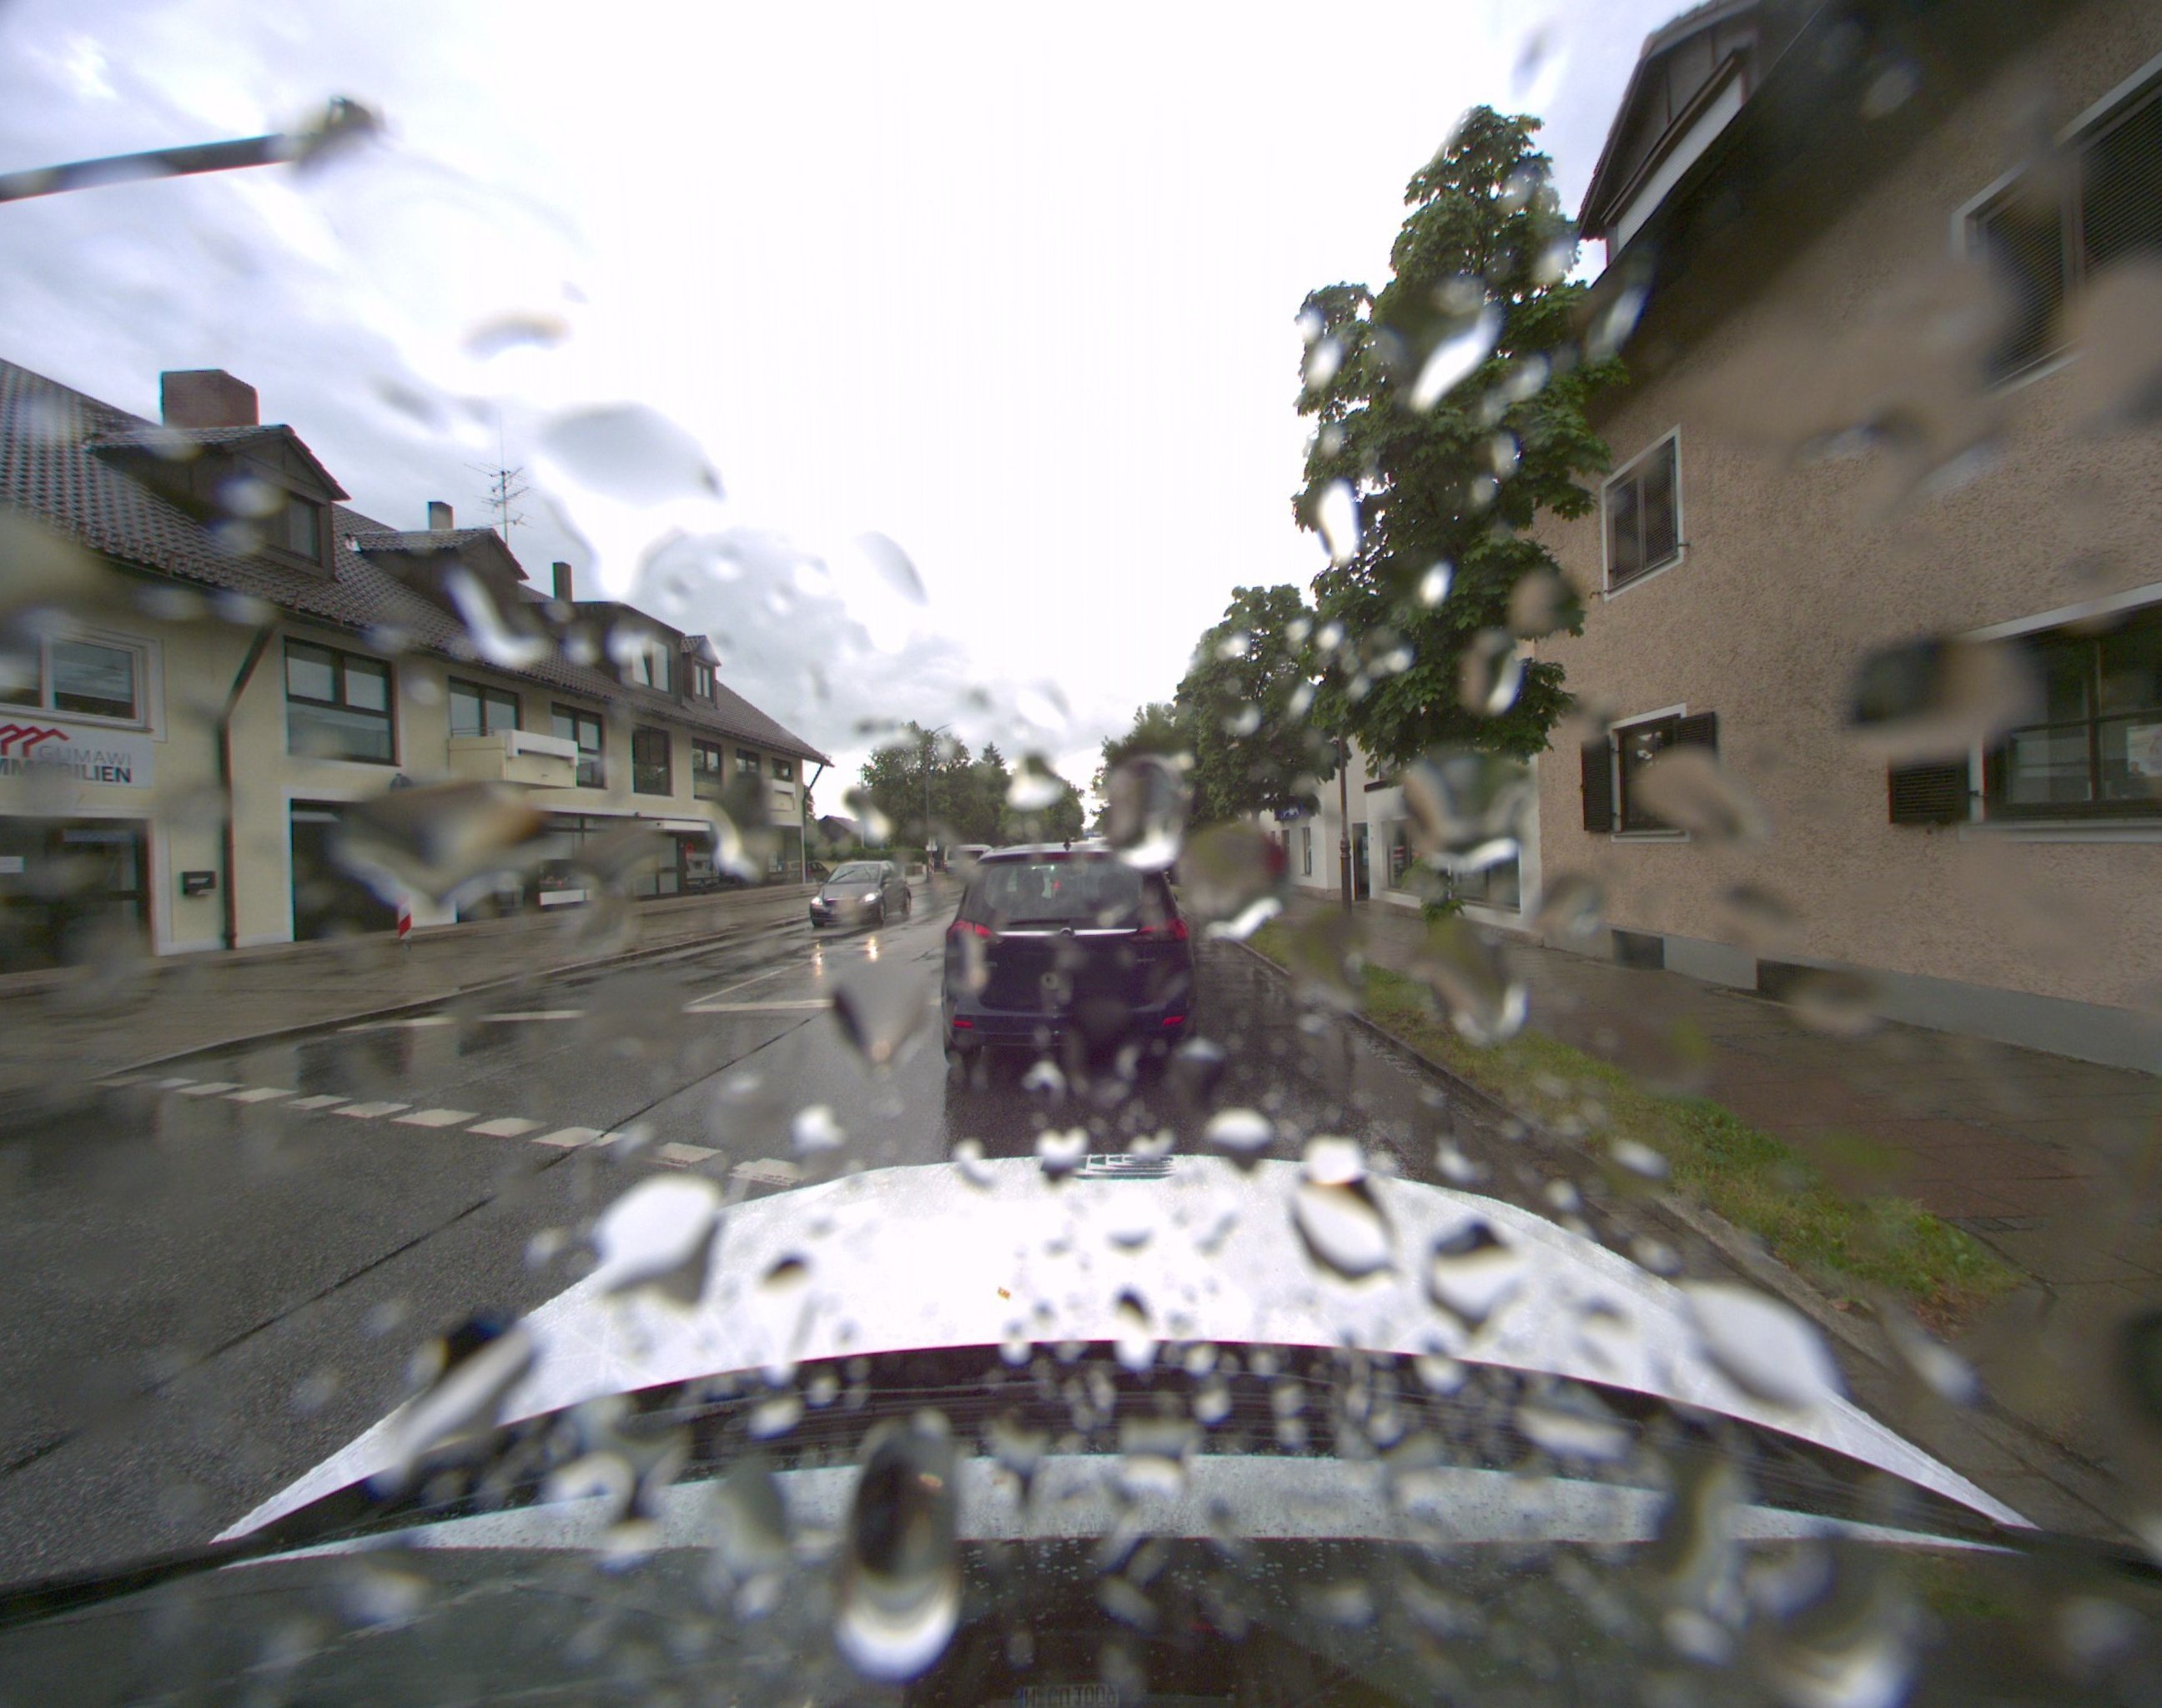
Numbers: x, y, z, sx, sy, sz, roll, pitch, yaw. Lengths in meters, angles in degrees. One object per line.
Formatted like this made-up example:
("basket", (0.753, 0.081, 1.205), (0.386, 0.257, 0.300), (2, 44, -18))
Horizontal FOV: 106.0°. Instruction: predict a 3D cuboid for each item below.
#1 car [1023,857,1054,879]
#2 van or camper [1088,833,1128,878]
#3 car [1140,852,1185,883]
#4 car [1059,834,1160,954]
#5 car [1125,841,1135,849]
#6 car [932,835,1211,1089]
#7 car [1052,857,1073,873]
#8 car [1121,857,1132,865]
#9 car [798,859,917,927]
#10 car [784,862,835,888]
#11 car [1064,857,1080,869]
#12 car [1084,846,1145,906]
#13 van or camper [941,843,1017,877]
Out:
("car", (-3.296, 1.074, 63.908), (1.960, 1.563, 4.153), (-3, 0, 2))
("van or camper", (1.722, 0.065, 52.063), (2.351, 2.665, 5.374), (-2, 0, 2))
("car", (4.304, 0.685, 43.406), (2.110, 1.581, 3.936), (0, 0, 1))
("car", (0.473, 0.598, 13.647), (1.494, 1.776, 3.113), (0, 0, 2))
("car", (8.452, -1.576, 141.467), (1.624, 1.378, 3.624), (-3, 0, 2))
("car", (-0.004, 0.687, 7.003), (1.762, 1.604, 3.665), (0, 0, 2))
("car", (-1.898, 1.114, 84.516), (1.920, 1.566, 4.127), (-2, 0, 1))
("car", (7.397, 1.159, 132.261), (1.624, 1.378, 3.624), (0, -1, 2))
("car", (-5.753, 0.943, 21.495), (1.909, 1.533, 3.900), (-3, 0, 2))
("car", (-15.827, 1.201, 47.622), (1.601, 1.380, 3.510), (-3, 0, 2))
("car", (-1.166, 1.138, 104.487), (1.745, 1.511, 4.233), (-3, 0, 3))
("car", (1.051, 0.653, 26.013), (1.749, 1.706, 3.620), (-2, 0, 2))
("van or camper", (-8.603, 0.497, 69.073), (6.235, 2.707, 2.098), (-2, 0, -4))
